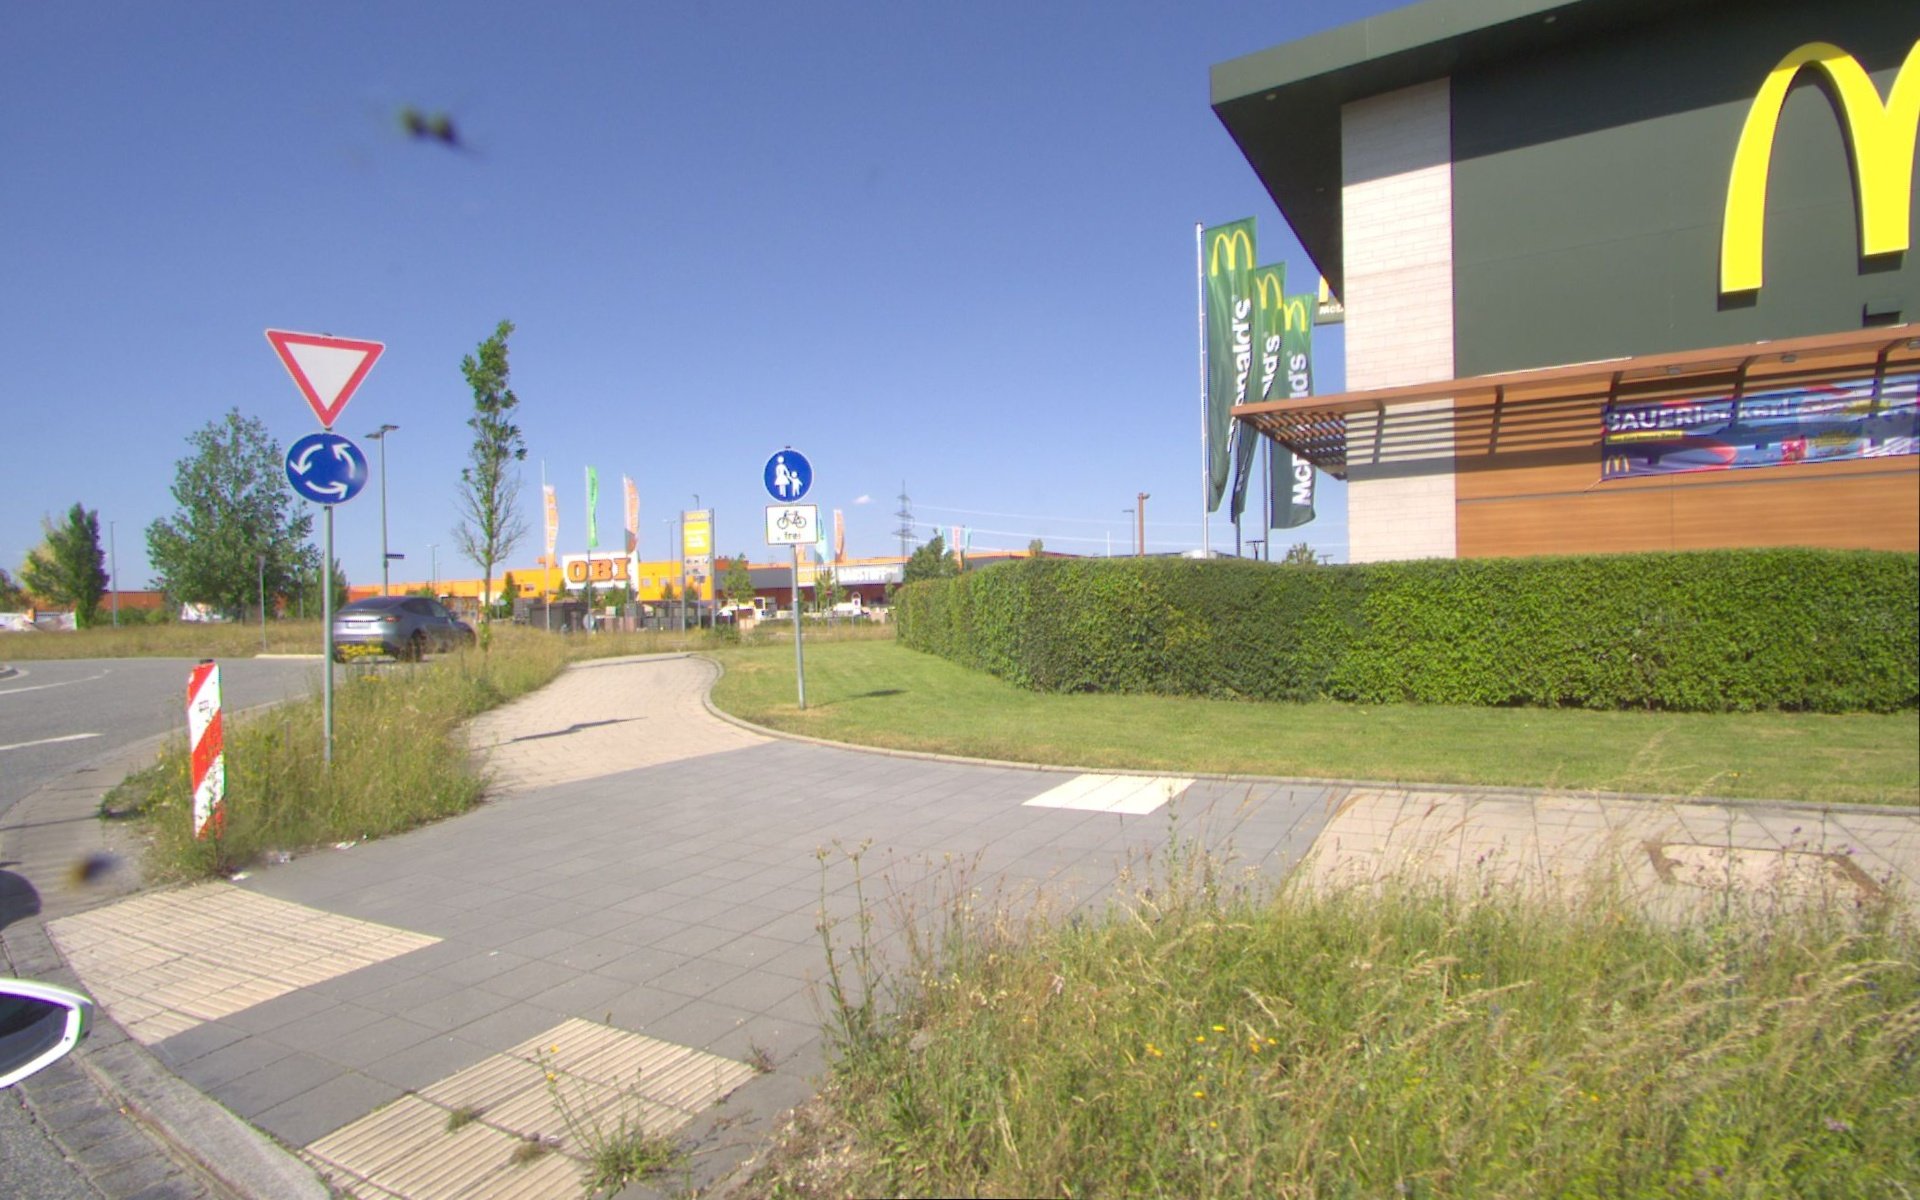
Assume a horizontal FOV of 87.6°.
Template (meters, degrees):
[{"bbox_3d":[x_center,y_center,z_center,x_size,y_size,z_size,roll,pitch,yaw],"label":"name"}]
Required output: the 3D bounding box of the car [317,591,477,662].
[{"bbox_3d":[-13.889,0.631,24.999,1.796,1.605,4.167,-1,0,-3],"label":"car"}]

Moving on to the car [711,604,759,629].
[{"bbox_3d":[-17.653,1.354,78.717,1.673,1.864,3.763,-1,-2,25],"label":"car"}]
